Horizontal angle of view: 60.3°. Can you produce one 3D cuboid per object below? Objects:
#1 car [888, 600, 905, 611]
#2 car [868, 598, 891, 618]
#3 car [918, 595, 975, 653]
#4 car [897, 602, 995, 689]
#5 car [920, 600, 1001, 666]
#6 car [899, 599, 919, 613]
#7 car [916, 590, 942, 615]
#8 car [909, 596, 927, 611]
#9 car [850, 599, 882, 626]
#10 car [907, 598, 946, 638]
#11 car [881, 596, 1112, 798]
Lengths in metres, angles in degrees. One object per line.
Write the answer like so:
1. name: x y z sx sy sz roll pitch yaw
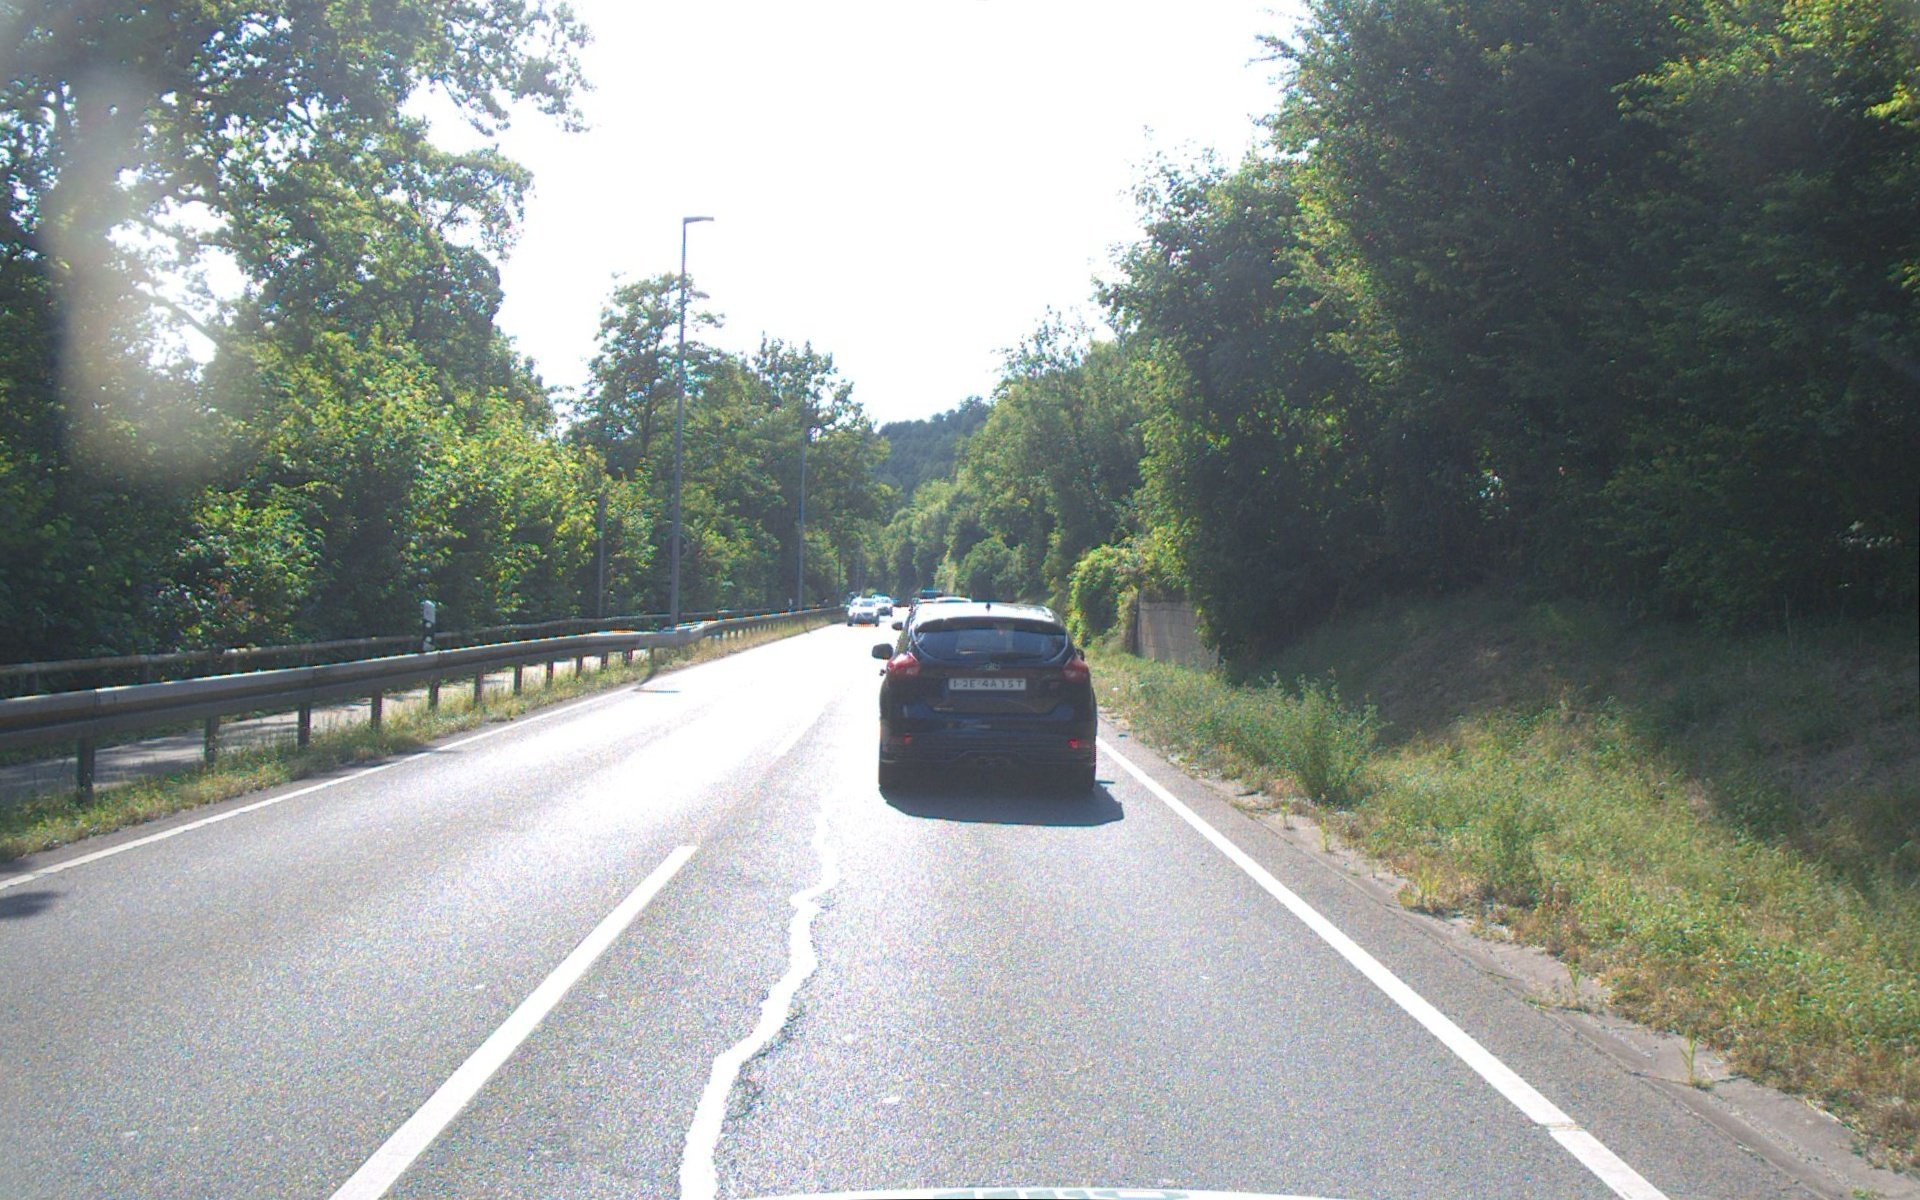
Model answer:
1. car: -8.779 0.720 227.857 1.956 1.545 3.993 0 0 -8
2. car: -6.282 0.603 128.851 1.647 1.489 4.196 1 0 -2
3. car: -0.407 0.678 49.194 1.597 1.624 3.999 0 0 -1
4. car: -0.209 0.761 29.566 1.627 1.443 4.000 1 0 1
5. car: -0.009 0.720 38.177 1.768 1.416 3.999 0 0 -1
6. car: -6.109 0.709 199.371 1.956 1.545 3.993 0 0 -8
7. car: -2.335 0.201 123.462 1.826 1.812 3.997 0 0 -3
8. car: -4.406 0.398 172.661 1.782 1.545 3.999 0 0 -1
9. car: -5.023 0.655 88.757 1.590 1.401 4.046 0 0 -1
10. car: -1.414 0.732 69.780 1.597 1.624 3.999 0 0 -1
11. car: 0.250 0.733 14.346 1.704 1.482 3.999 1 0 -1
